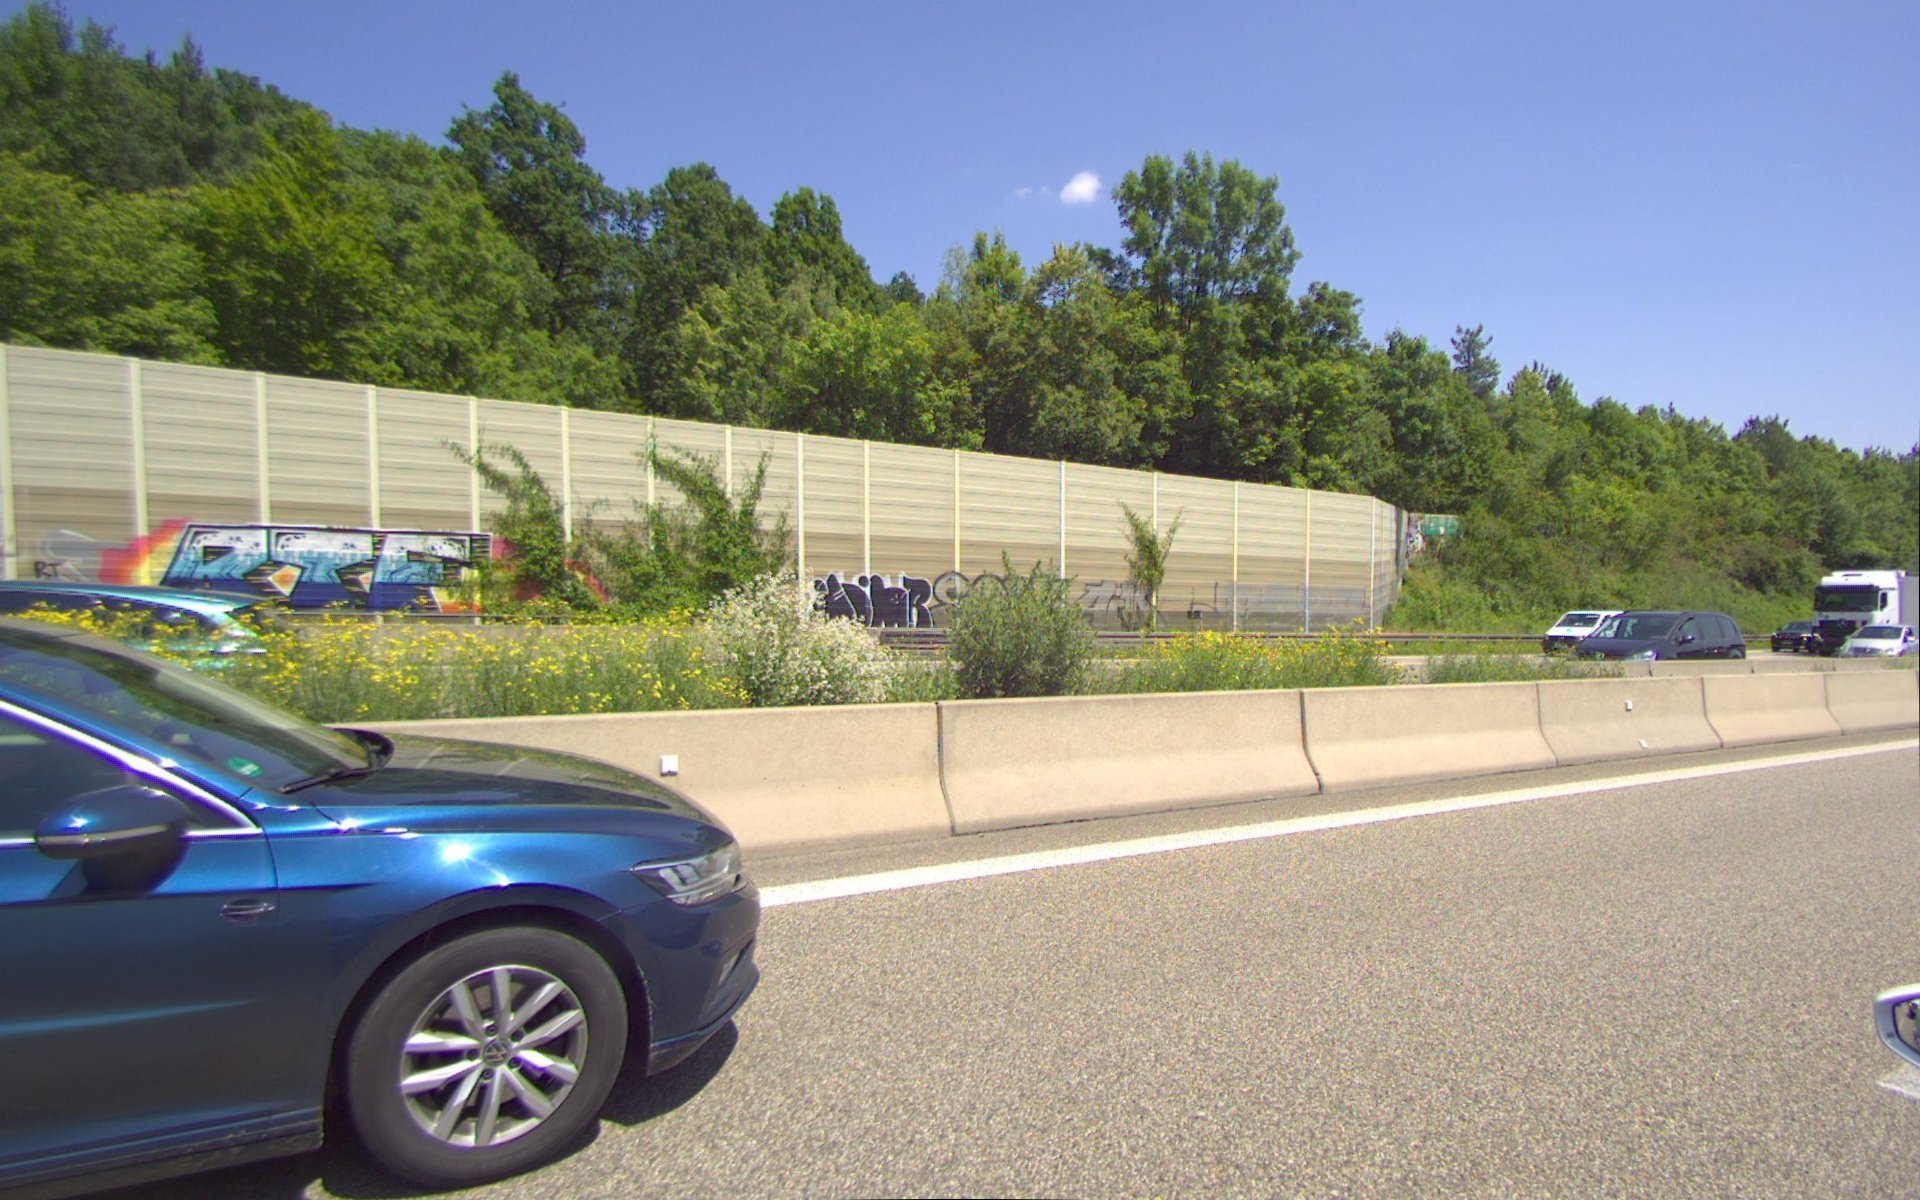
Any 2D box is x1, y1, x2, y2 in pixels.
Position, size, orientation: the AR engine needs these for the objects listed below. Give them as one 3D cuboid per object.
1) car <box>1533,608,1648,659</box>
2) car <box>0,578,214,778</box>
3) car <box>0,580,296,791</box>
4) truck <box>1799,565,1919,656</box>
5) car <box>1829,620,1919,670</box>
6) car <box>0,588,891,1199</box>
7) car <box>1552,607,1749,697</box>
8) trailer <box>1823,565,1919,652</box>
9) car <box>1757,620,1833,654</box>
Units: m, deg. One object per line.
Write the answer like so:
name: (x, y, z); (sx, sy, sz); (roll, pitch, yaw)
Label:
car: (25.880, 1.388, 41.178); (5.245, 1.892, 1.910); (2, -1, -32)
car: (-10.453, 0.725, 10.147); (4.453, 1.947, 1.729); (2, 0, -31)
car: (-7.350, 0.589, 7.639); (3.710, 1.487, 1.608); (2, 0, -31)
truck: (42.886, 0.557, 47.500); (7.236, 3.960, 2.797); (2, 0, -33)
car: (34.079, 1.665, 37.082); (4.058, 1.692, 1.818); (2, 0, -31)
car: (-2.659, 0.697, 2.571); (4.674, 1.447, 1.724); (2, 0, -30)
car: (14.719, 1.061, 21.348); (4.604, 1.721, 1.675); (2, 0, -31)
trailer: (48.125, 0.594, 50.869); (13.675, 3.960, 2.797); (2, 0, -32)
car: (43.812, 1.935, 52.684); (4.052, 1.663, 1.801); (2, 0, -31)
